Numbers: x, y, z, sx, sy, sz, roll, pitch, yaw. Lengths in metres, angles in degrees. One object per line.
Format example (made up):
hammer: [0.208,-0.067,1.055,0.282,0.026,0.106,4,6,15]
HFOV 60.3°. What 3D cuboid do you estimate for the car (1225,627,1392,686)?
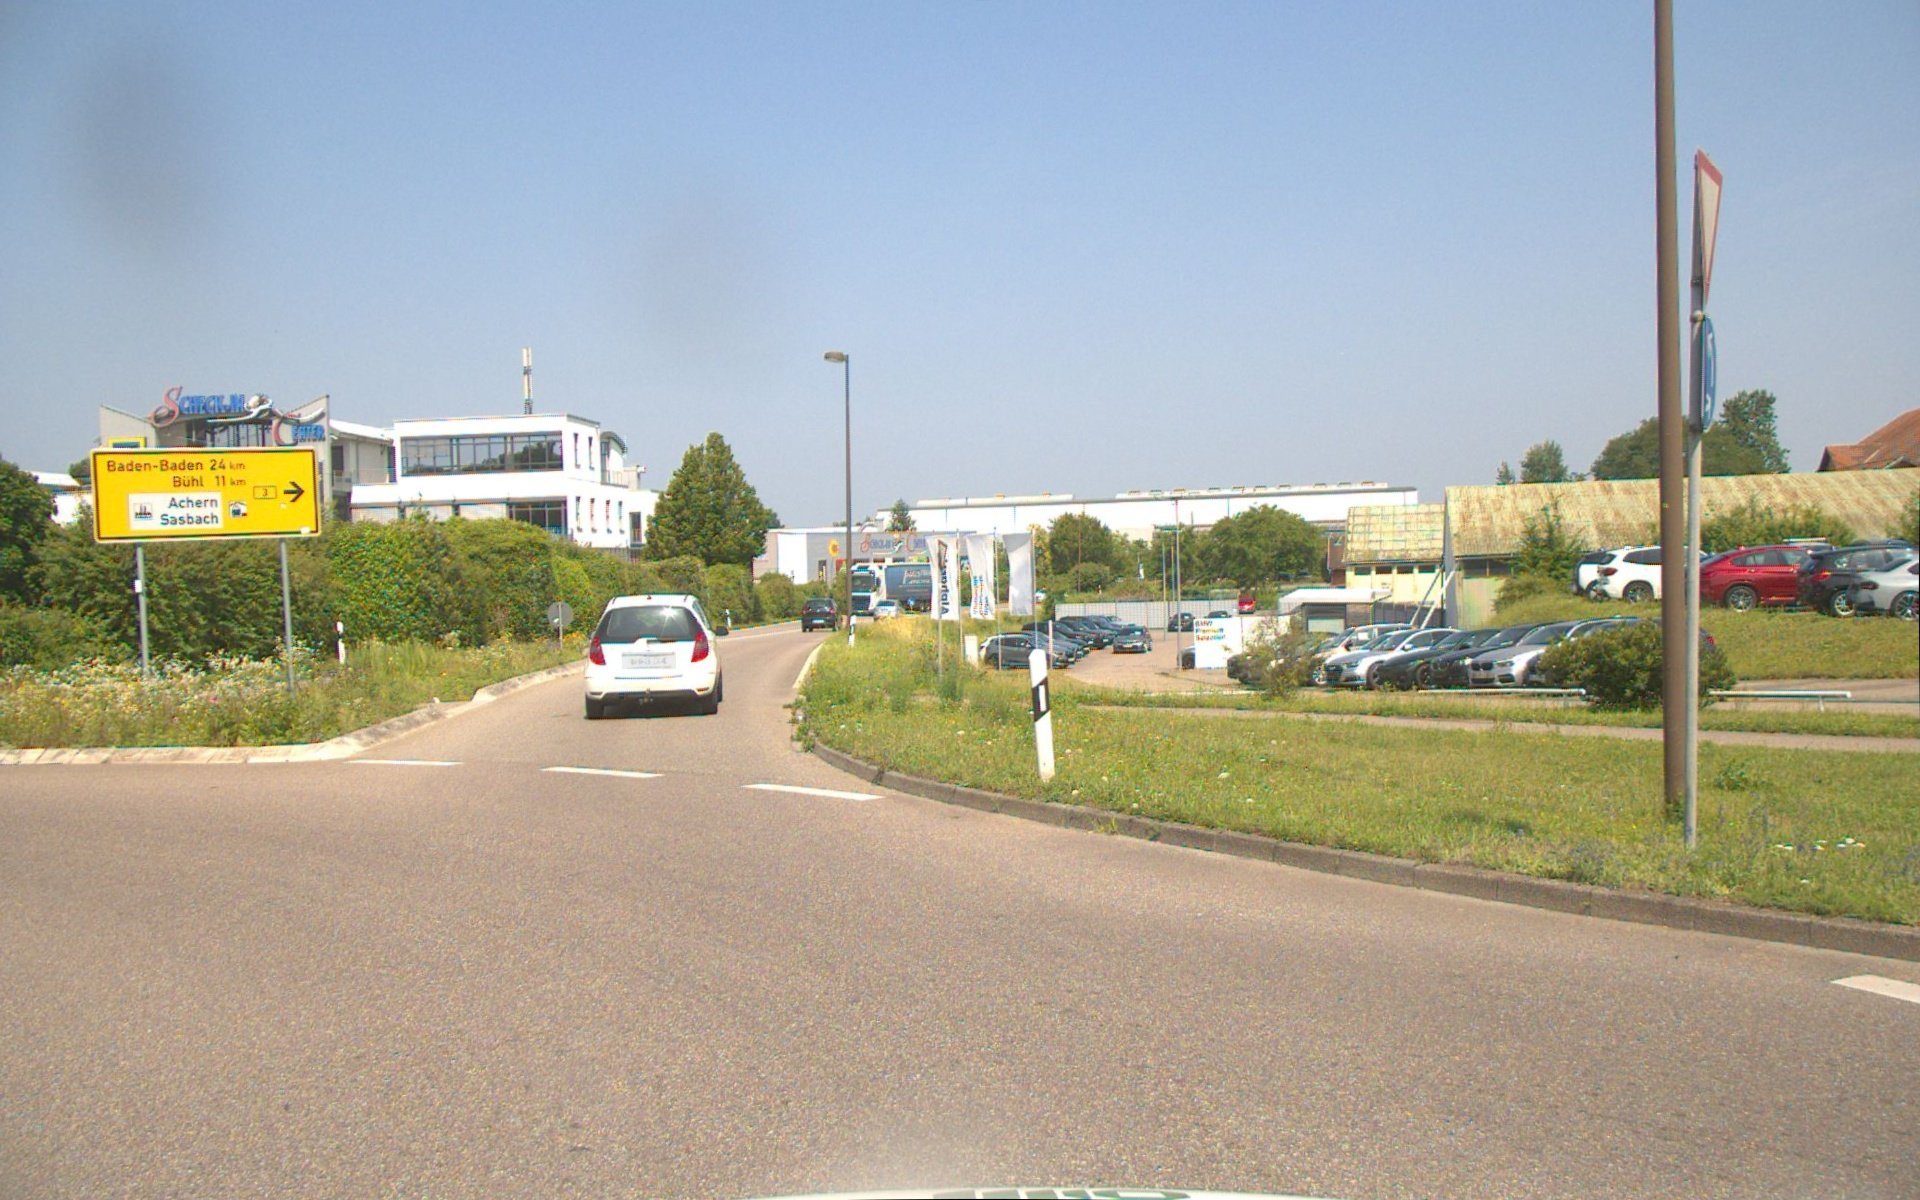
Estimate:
car: [10.917,1.783,52.009,4.676,1.534,1.997,-3,-2,-6]

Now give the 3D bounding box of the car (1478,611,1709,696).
car: [13.488,1.146,35.229,4.492,1.446,1.772,-3,-2,-20]

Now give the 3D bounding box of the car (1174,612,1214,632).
car: [17.523,1.619,123.655,1.954,1.422,3.998,-1,0,25]

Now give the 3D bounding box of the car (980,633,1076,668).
car: [3.062,2.265,74.802,4.084,1.550,1.686,-1,0,33]

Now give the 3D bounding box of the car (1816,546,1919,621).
car: [21.171,-0.423,35.730,4.358,1.526,1.951,-2,1,13]

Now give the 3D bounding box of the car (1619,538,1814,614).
car: [19.998,-0.629,43.911,4.358,1.777,1.841,-2,0,13]

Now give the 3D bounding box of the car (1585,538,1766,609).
car: [20.039,-0.742,46.503,4.358,1.777,1.841,-2,0,13]

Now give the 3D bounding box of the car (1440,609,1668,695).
car: [13.383,1.176,37.327,4.483,1.593,1.915,-4,-2,-15]

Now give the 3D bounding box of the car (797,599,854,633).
car: [-6.253,0.737,77.270,1.790,1.496,4.413,-1,0,7]

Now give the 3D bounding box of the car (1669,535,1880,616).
car: [20.263,-0.603,41.336,4.358,1.777,1.951,-2,0,13]

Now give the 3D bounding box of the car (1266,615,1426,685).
car: [11.584,1.519,49.779,4.167,1.779,1.997,-4,-2,-6]

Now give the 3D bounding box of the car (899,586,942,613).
car: [-3.136,-0.033,131.479,1.953,2.049,3.999,-1,0,23]

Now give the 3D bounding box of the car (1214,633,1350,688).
car: [10.556,1.983,54.361,3.915,1.579,1.995,-2,-2,-10]

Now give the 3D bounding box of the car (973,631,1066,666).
car: [2.811,2.282,78.213,4.079,1.550,1.749,-1,0,29]

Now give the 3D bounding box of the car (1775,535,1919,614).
car: [21.345,-0.623,37.955,4.358,1.663,1.951,-2,0,13]

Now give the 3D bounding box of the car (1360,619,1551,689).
car: [12.558,1.371,42.059,4.167,1.437,1.920,-4,-2,-6]

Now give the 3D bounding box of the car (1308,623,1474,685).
car: [12.322,1.556,47.410,4.167,1.491,1.871,-3,-2,-6]

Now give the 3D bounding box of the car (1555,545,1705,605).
car: [19.622,-0.720,48.577,3.792,1.559,1.770,-2,0,13]

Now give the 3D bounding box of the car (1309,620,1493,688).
car: [11.909,1.459,44.741,4.347,1.491,1.915,-4,-2,-14]

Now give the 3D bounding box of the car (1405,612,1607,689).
car: [13.073,1.229,39.672,4.179,1.508,1.915,-4,-2,-15]

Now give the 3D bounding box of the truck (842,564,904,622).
truck: [-6.778,-0.559,129.634,2.461,4.332,6.114,-2,0,20]

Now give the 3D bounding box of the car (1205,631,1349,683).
car: [10.938,1.976,57.274,4.399,1.669,2.142,-1,-2,-10]

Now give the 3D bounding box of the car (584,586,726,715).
car: [-4.353,0.658,23.227,1.751,1.631,3.879,-1,0,-14]

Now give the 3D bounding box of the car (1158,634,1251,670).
car: [10.853,2.304,73.501,3.717,1.550,1.749,-1,0,27]

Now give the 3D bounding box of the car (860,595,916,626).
car: [-4.806,0.701,111.221,1.956,2.049,3.993,-1,0,29]

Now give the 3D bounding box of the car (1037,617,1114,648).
car: [6.887,1.911,98.805,4.152,1.730,1.912,-1,2,37]

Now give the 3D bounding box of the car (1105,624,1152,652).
car: [9.632,2.166,94.216,2.089,1.483,4.536,-1,0,13]

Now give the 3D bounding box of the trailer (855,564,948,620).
trailer: [-4.627,-0.609,135.993,2.614,4.315,14.570,0,0,19]
